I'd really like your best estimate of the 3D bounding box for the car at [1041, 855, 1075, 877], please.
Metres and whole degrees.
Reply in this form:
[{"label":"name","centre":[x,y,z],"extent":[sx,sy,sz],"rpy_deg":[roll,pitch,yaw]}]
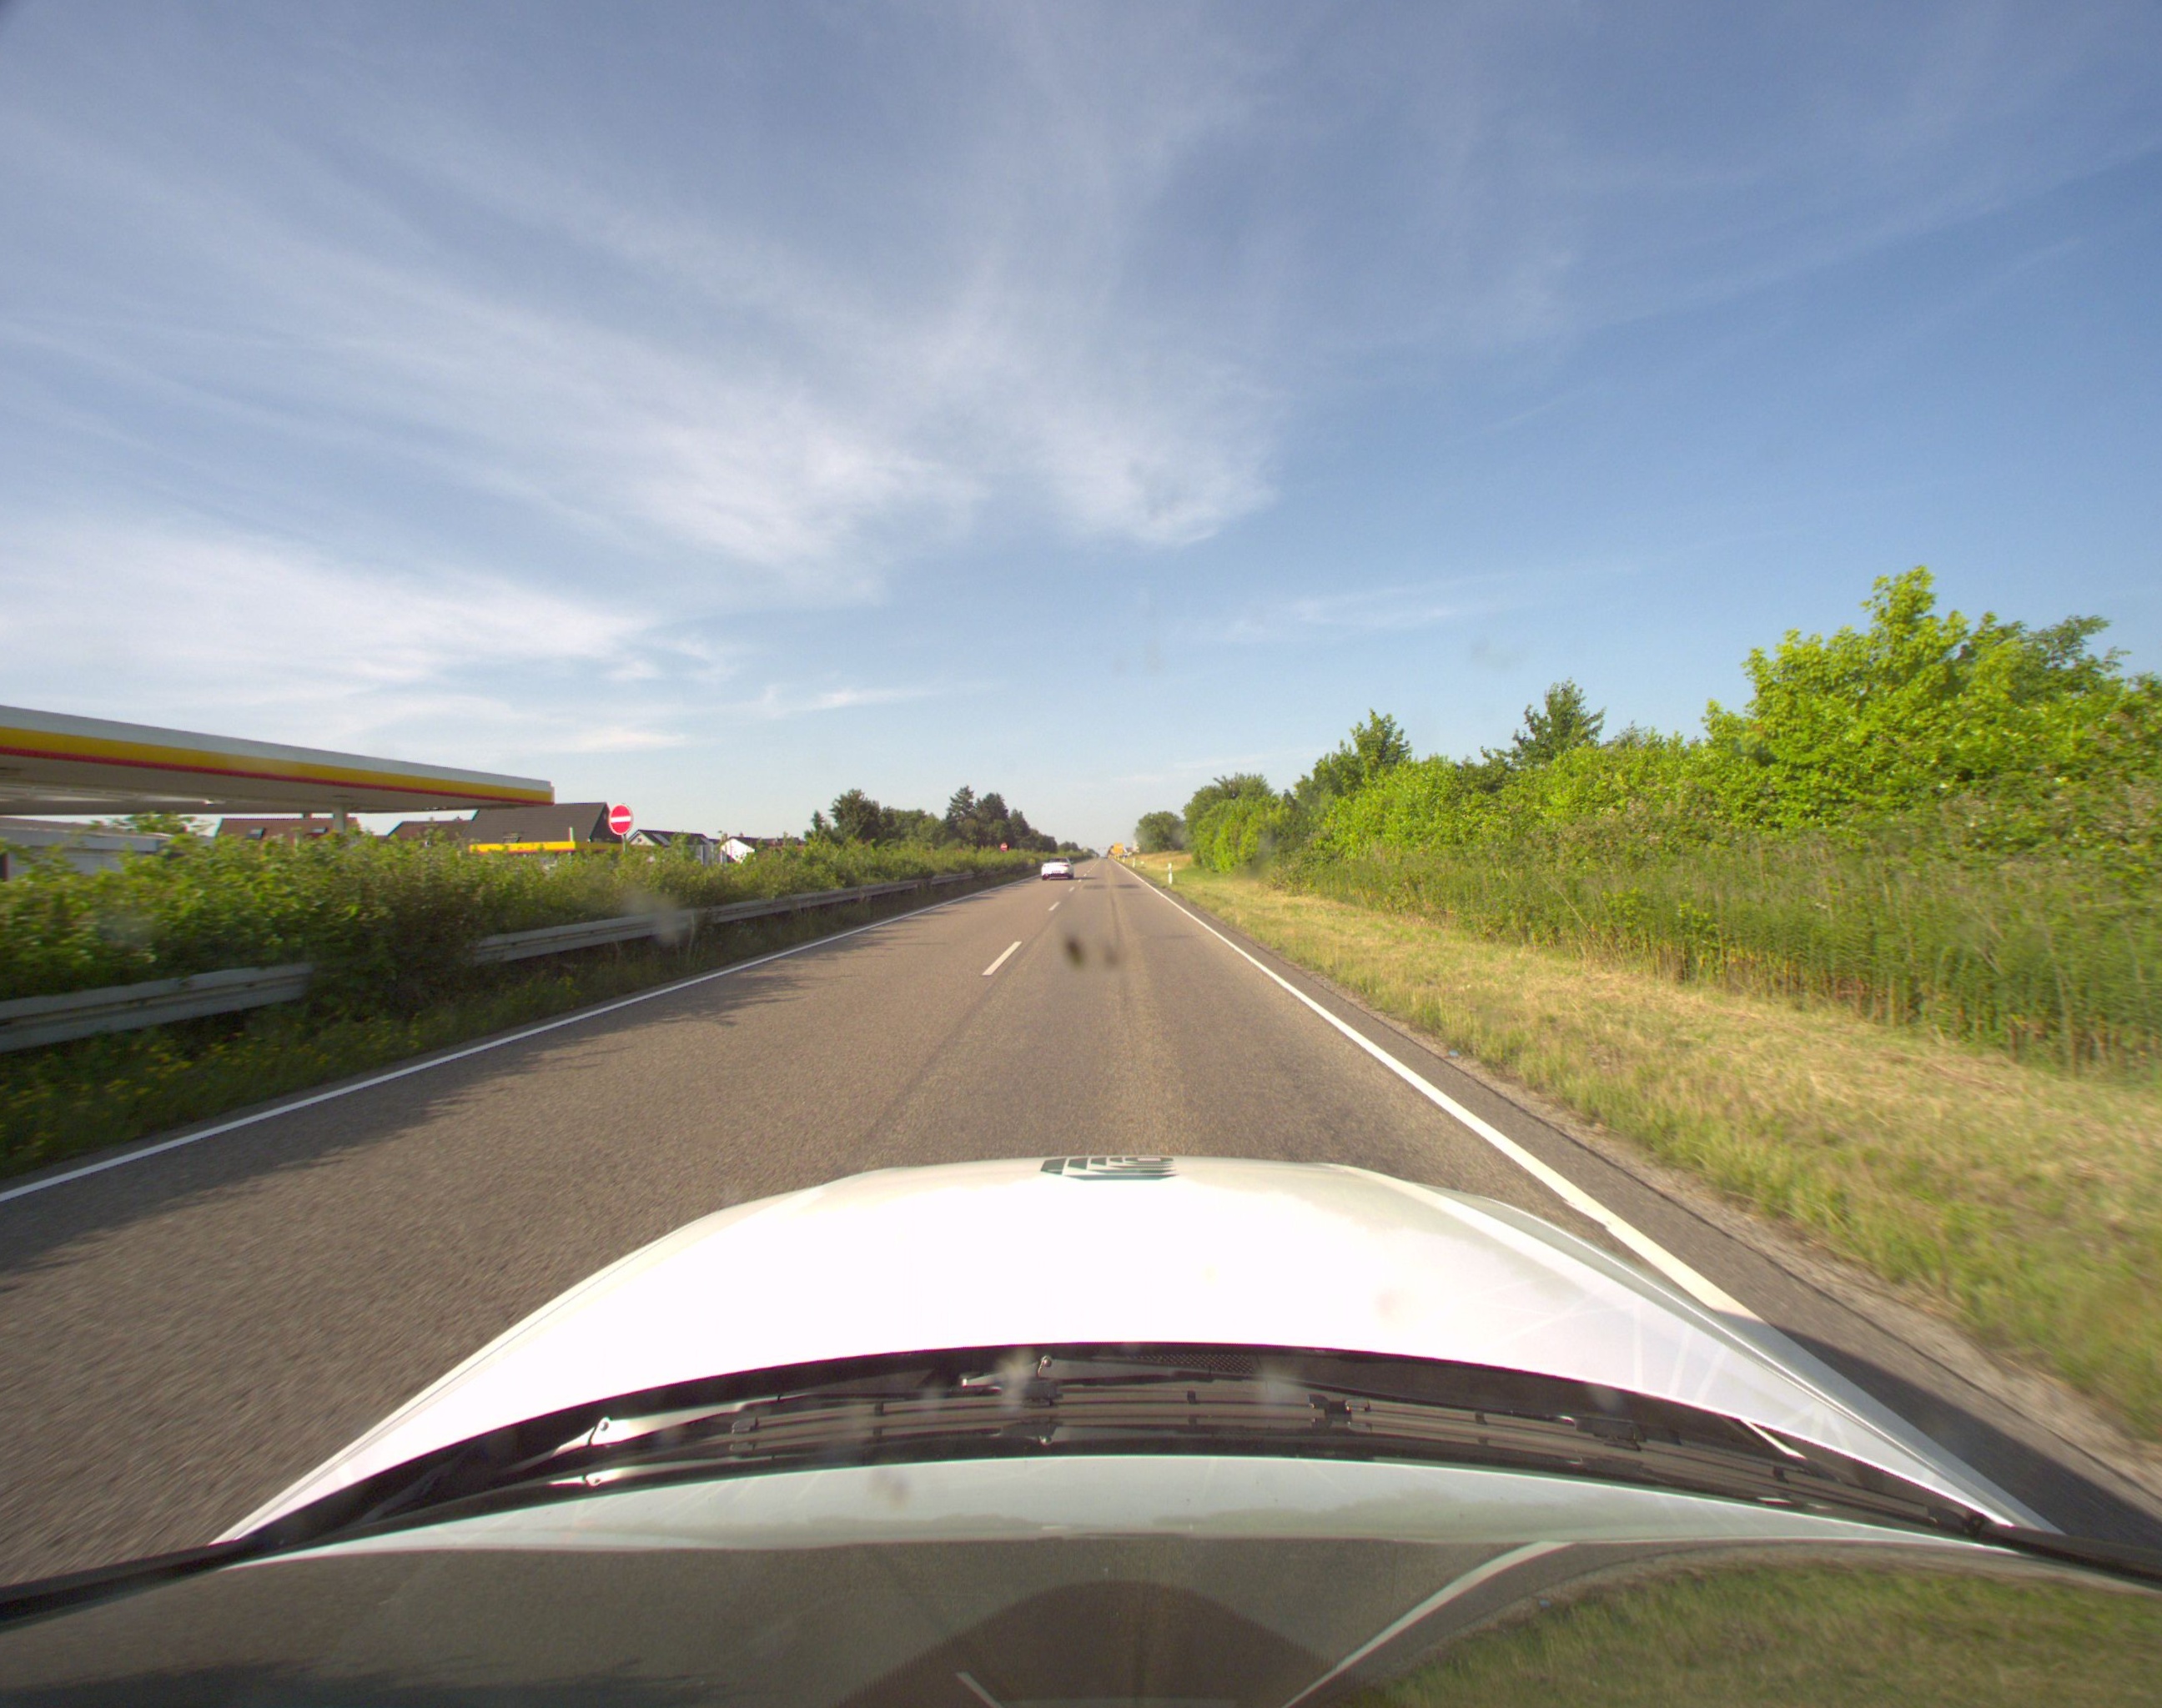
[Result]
[{"label":"car","centre":[-1.403,0.726,51.204],"extent":[1.764,1.337,4.952],"rpy_deg":[0,0,2]}]
